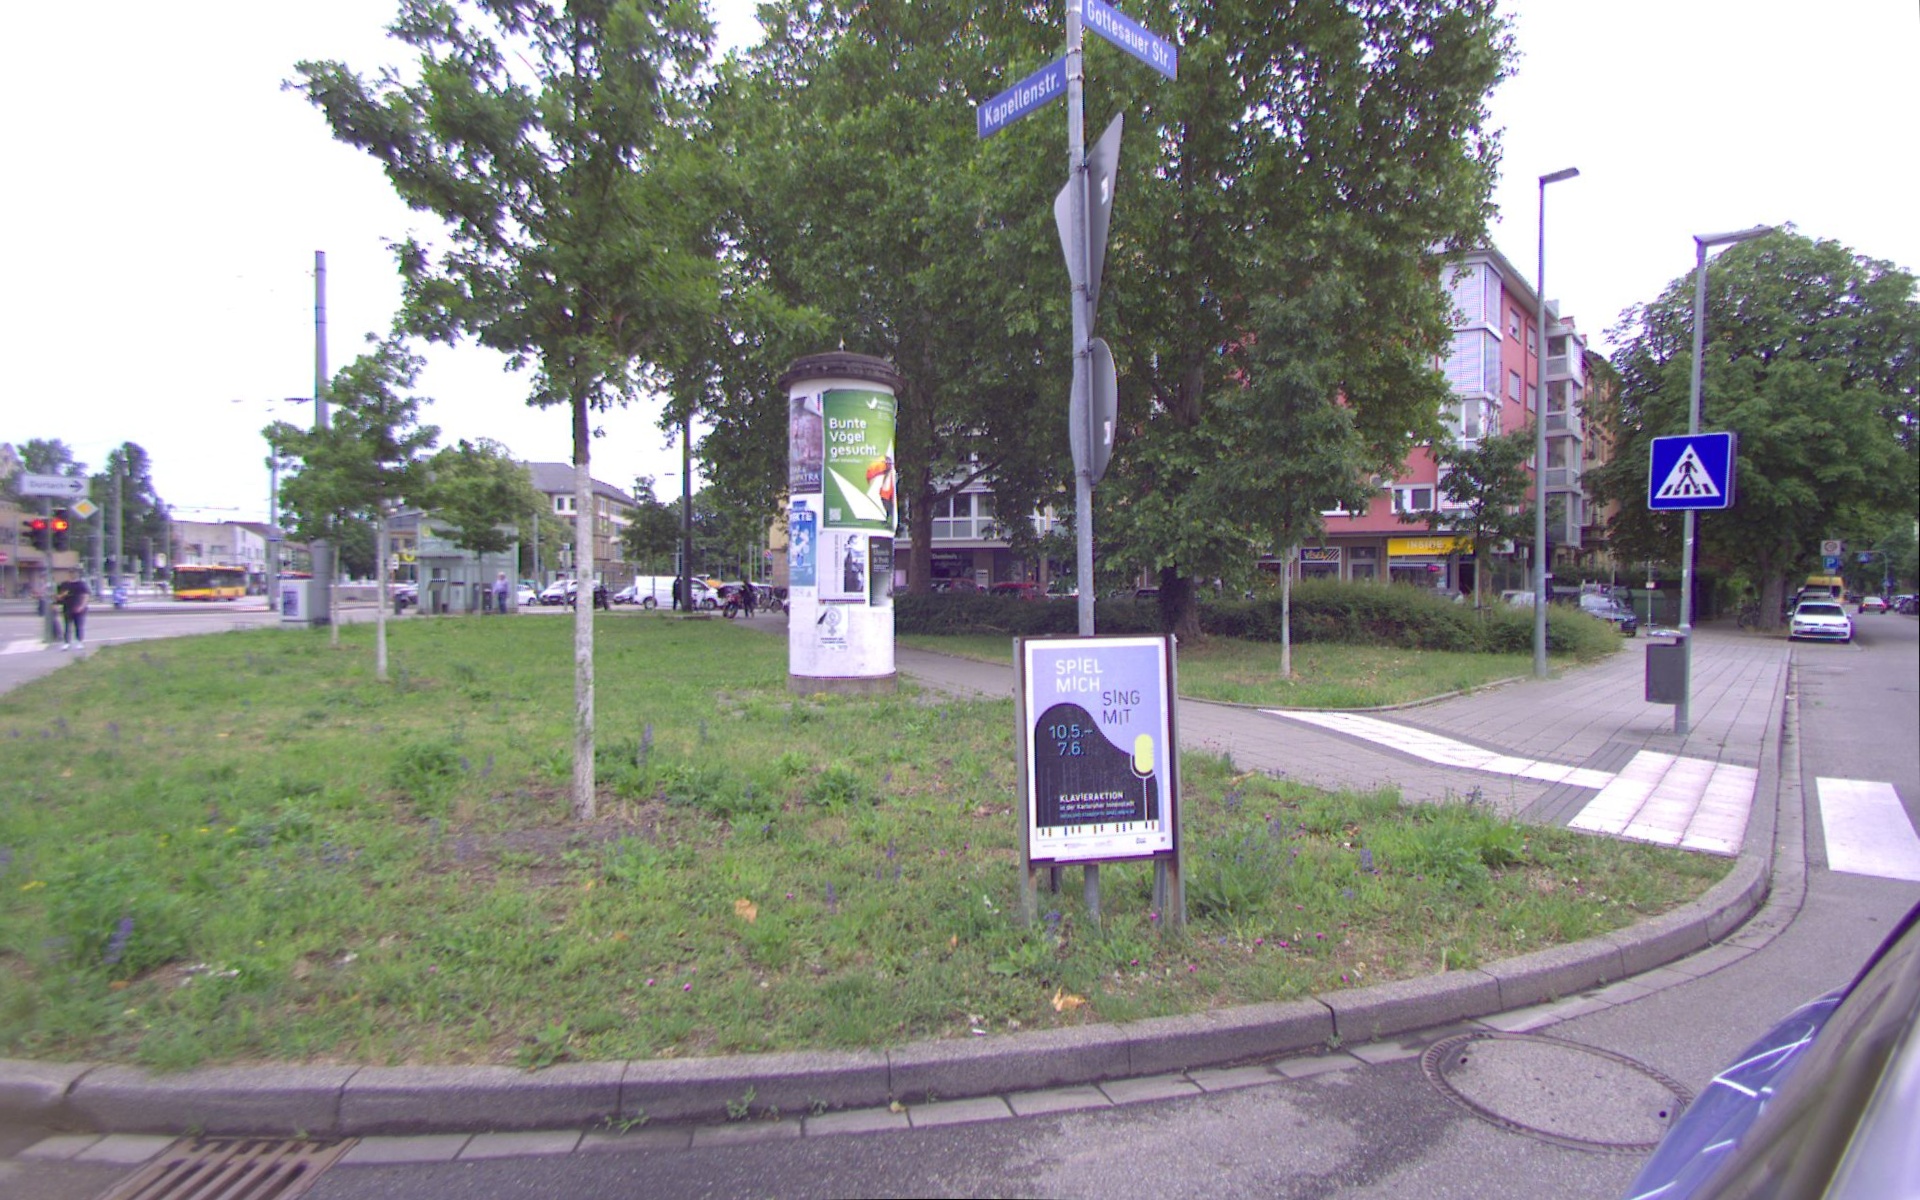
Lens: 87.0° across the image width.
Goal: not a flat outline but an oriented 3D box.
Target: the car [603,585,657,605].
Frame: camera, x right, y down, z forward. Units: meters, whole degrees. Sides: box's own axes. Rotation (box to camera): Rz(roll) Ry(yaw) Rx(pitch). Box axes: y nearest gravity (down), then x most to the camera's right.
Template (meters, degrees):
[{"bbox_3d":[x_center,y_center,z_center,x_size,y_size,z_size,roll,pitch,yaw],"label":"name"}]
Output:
[{"bbox_3d":[-25.266,-0.378,77.672,1.755,1.482,3.968,-1,0,24],"label":"car"}]

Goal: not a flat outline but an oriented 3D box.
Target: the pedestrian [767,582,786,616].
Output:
[{"bbox_3d":[-9.162,-0.054,50.463,0.699,1.659,0.726,0,0,-30],"label":"pedestrian"}]

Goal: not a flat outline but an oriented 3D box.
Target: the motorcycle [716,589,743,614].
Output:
[{"bbox_3d":[-9.530,0.057,41.790,0.856,1.010,1.016,0,0,-27],"label":"motorcycle"}]

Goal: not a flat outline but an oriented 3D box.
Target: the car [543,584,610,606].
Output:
[{"bbox_3d":[-25.596,-0.358,67.720,1.679,1.413,4.359,0,1,23],"label":"car"}]

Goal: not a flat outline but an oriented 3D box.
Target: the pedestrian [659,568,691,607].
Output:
[{"bbox_3d":[-13.433,-0.586,47.724,1.075,1.820,0.940,-1,-1,22],"label":"pedestrian"}]

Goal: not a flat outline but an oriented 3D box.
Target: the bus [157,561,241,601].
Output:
[{"bbox_3d":[-64.988,-1.596,86.740,2.908,3.162,11.561,0,1,-22],"label":"bus"}]

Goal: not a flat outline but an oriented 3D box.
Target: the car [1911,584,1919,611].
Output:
[{"bbox_3d":[75.344,-0.236,78.335,2.012,2.011,4.718,-1,0,38],"label":"car"}]

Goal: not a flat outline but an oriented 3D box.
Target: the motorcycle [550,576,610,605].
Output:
[{"bbox_3d":[-15.777,-0.390,42.068,0.761,1.183,2.359,0,0,32],"label":"motorcycle"}]

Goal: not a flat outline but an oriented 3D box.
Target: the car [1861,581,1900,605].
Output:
[{"bbox_3d":[78.219,-0.620,86.054,2.012,2.011,4.718,-1,0,38],"label":"car"}]

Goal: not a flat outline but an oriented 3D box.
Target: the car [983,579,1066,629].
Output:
[{"bbox_3d":[2.267,0.092,34.212,1.836,1.567,4.451,0,1,17],"label":"car"}]

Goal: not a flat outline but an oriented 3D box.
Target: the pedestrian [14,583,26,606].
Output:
[{"bbox_3d":[-80.586,-0.459,86.754,0.611,1.942,0.711,0,0,-33],"label":"pedestrian"}]

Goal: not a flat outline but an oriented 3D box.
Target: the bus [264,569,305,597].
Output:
[{"bbox_3d":[-84.064,-2.102,126.156,2.608,3.324,11.013,0,1,-25],"label":"bus"}]

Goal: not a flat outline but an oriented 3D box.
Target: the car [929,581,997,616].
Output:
[{"bbox_3d":[0.185,-0.085,45.203,1.836,1.508,4.451,0,1,17],"label":"car"}]

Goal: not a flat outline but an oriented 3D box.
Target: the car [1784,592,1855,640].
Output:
[{"bbox_3d":[31.513,0.522,37.184,1.853,1.567,4.412,2,2,39],"label":"car"}]

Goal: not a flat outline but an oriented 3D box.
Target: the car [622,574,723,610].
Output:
[{"bbox_3d":[-17.039,-0.487,59.964,5.617,2.039,2.032,-1,0,-19],"label":"car"}]

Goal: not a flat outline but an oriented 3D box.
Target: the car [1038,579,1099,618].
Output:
[{"bbox_3d":[4.770,-0.093,43.914,1.836,1.567,4.451,0,1,17],"label":"car"}]

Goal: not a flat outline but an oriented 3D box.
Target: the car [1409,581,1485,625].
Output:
[{"bbox_3d":[18.434,0.077,38.477,1.835,1.567,4.453,0,1,16],"label":"car"}]

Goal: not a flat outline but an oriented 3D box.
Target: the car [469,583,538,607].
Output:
[{"bbox_3d":[-29.636,-0.348,65.823,1.754,1.482,3.970,-1,0,22],"label":"car"}]

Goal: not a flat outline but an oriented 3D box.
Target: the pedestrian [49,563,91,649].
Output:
[{"bbox_3d":[-19.737,0.127,22.453,0.526,1.867,0.987,0,1,-32],"label":"pedestrian"}]

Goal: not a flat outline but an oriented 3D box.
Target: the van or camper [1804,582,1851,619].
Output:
[{"bbox_3d":[49.539,-0.020,57.805,1.991,2.039,3.941,1,1,41],"label":"van or camper"}]

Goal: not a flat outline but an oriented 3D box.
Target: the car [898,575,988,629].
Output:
[{"bbox_3d":[-0.513,0.050,35.093,1.836,1.744,4.451,0,1,17],"label":"car"}]

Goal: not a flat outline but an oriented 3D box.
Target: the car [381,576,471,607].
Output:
[{"bbox_3d":[-29.565,-0.495,56.140,1.785,1.660,4.192,0,1,26],"label":"car"}]

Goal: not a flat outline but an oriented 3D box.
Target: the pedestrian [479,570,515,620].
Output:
[{"bbox_3d":[-18.077,-0.203,39.547,0.874,1.955,1.016,0,0,5],"label":"pedestrian"}]

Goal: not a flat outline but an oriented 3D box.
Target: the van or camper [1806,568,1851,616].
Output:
[{"bbox_3d":[52.597,-0.508,61.337,1.991,2.807,3.941,0,0,41],"label":"van or camper"}]

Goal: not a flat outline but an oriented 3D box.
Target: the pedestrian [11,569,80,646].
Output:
[{"bbox_3d":[-23.574,0.185,26.092,0.724,1.931,1.101,0,0,11],"label":"pedestrian"}]

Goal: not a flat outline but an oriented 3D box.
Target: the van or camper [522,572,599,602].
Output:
[{"bbox_3d":[-28.082,-0.894,71.370,2.169,2.039,5.118,-1,0,22],"label":"van or camper"}]

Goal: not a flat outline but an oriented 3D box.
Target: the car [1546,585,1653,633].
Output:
[{"bbox_3d":[23.071,0.269,36.718,1.832,1.567,4.460,0,2,12],"label":"car"}]

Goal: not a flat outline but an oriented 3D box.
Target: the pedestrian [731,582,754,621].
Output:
[{"bbox_3d":[-9.299,0.045,43.287,0.629,1.659,0.866,0,0,20],"label":"pedestrian"}]

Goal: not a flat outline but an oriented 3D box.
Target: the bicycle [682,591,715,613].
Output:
[{"bbox_3d":[-11.270,0.065,43.615,1.251,0.929,0.590,0,0,24],"label":"bicycle"}]

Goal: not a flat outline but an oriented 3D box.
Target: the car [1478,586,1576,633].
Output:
[{"bbox_3d":[21.070,0.301,37.805,1.831,1.567,4.463,0,2,11],"label":"car"}]
